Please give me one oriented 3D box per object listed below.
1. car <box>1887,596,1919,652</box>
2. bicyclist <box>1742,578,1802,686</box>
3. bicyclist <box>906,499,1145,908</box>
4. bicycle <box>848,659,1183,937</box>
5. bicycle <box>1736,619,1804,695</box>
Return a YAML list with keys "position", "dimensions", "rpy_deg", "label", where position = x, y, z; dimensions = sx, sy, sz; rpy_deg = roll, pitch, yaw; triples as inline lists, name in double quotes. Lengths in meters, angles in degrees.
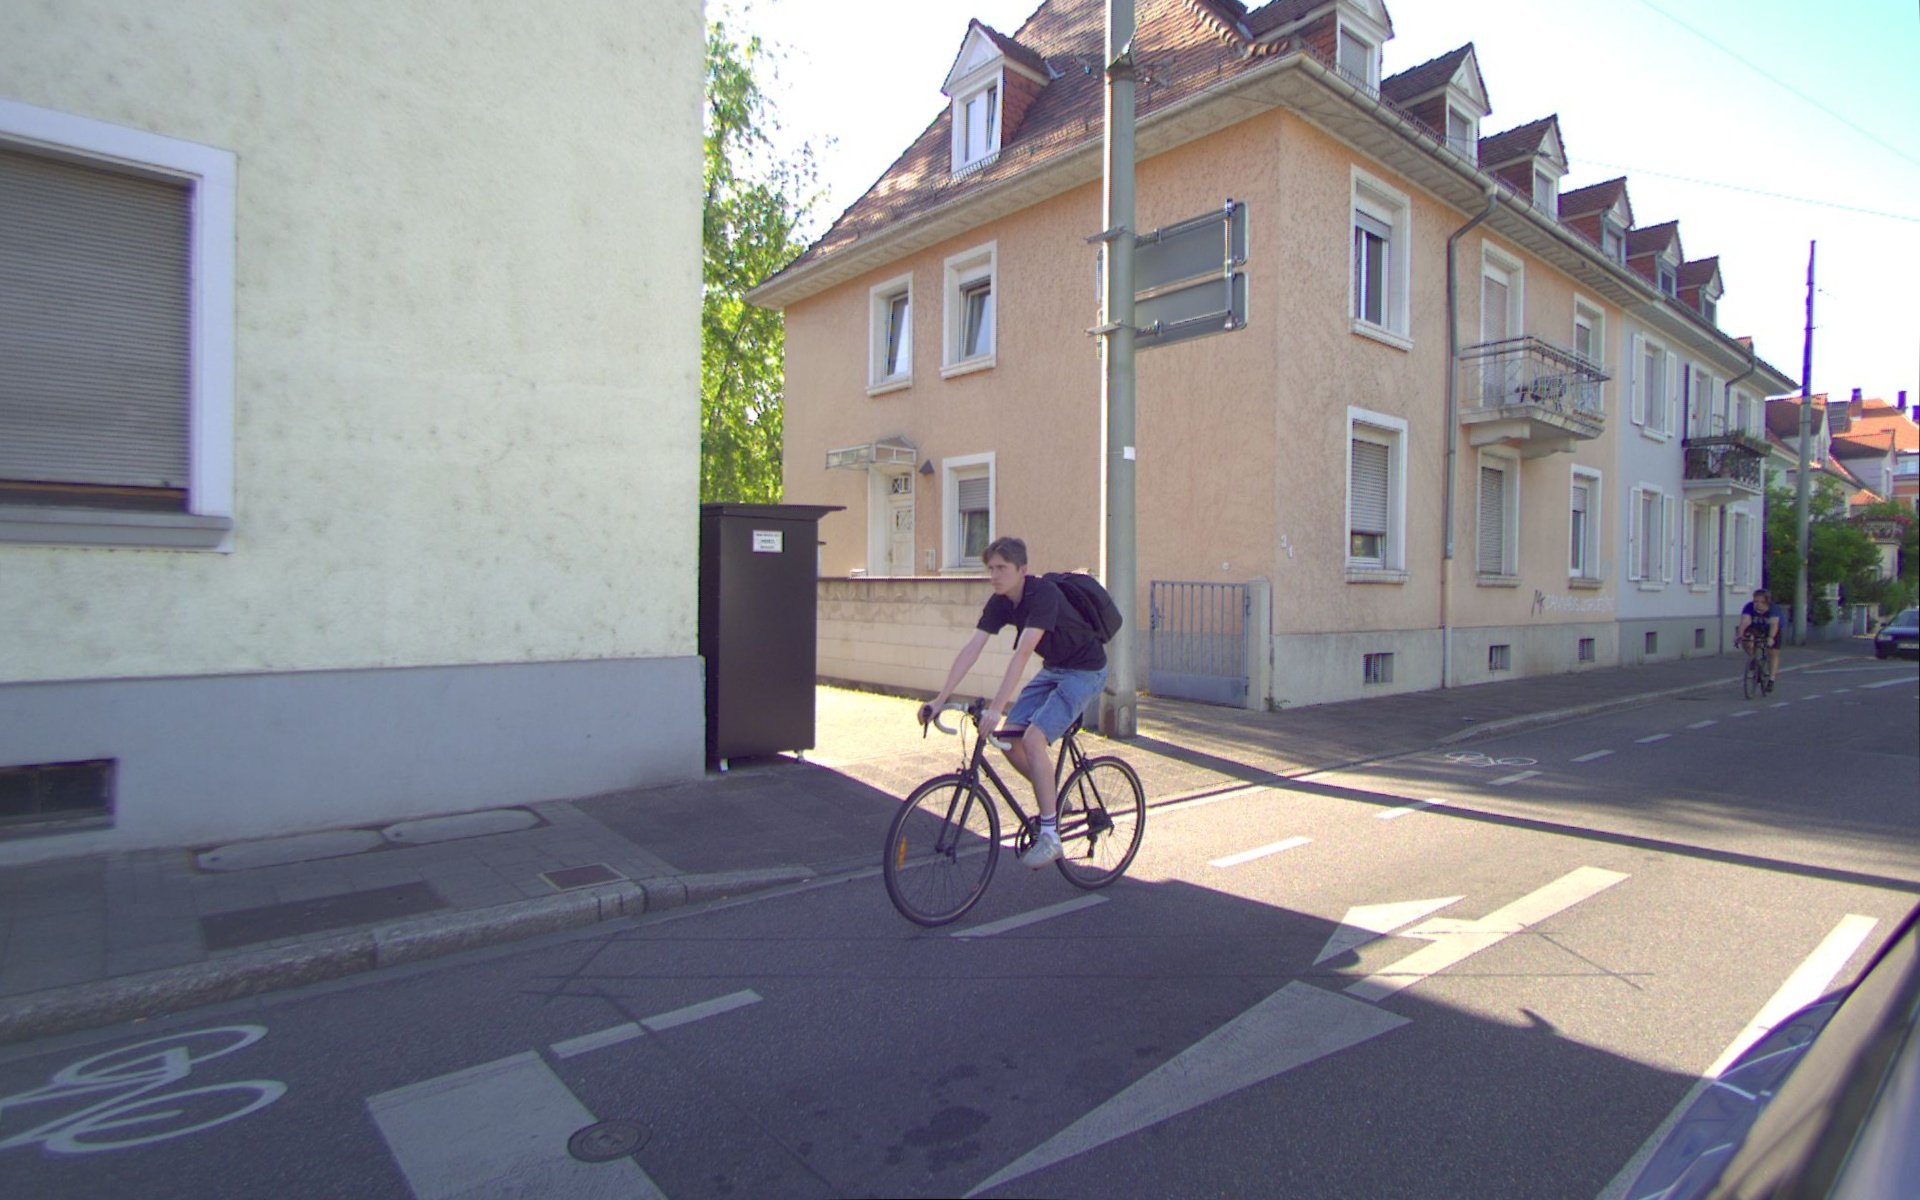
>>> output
- position: [26.712, 0.630, 27.404]
  dimensions: [4.347, 1.425, 1.866]
  rpy_deg: [0, 1, -41]
  label: "car"
- position: [12.767, 0.480, 15.912]
  dimensions: [0.999, 1.637, 0.561]
  rpy_deg: [0, 1, -42]
  label: "bicyclist"
- position: [0.334, 0.438, 4.902]
  dimensions: [1.065, 1.752, 0.560]
  rpy_deg: [0, 0, -41]
  label: "bicyclist"
- position: [0.329, 0.853, 4.898]
  dimensions: [1.727, 1.029, 0.533]
  rpy_deg: [0, 1, -41]
  label: "bicycle"
- position: [12.759, 0.863, 15.920]
  dimensions: [1.764, 1.076, 0.550]
  rpy_deg: [-1, 1, -42]
  label: "bicycle"
